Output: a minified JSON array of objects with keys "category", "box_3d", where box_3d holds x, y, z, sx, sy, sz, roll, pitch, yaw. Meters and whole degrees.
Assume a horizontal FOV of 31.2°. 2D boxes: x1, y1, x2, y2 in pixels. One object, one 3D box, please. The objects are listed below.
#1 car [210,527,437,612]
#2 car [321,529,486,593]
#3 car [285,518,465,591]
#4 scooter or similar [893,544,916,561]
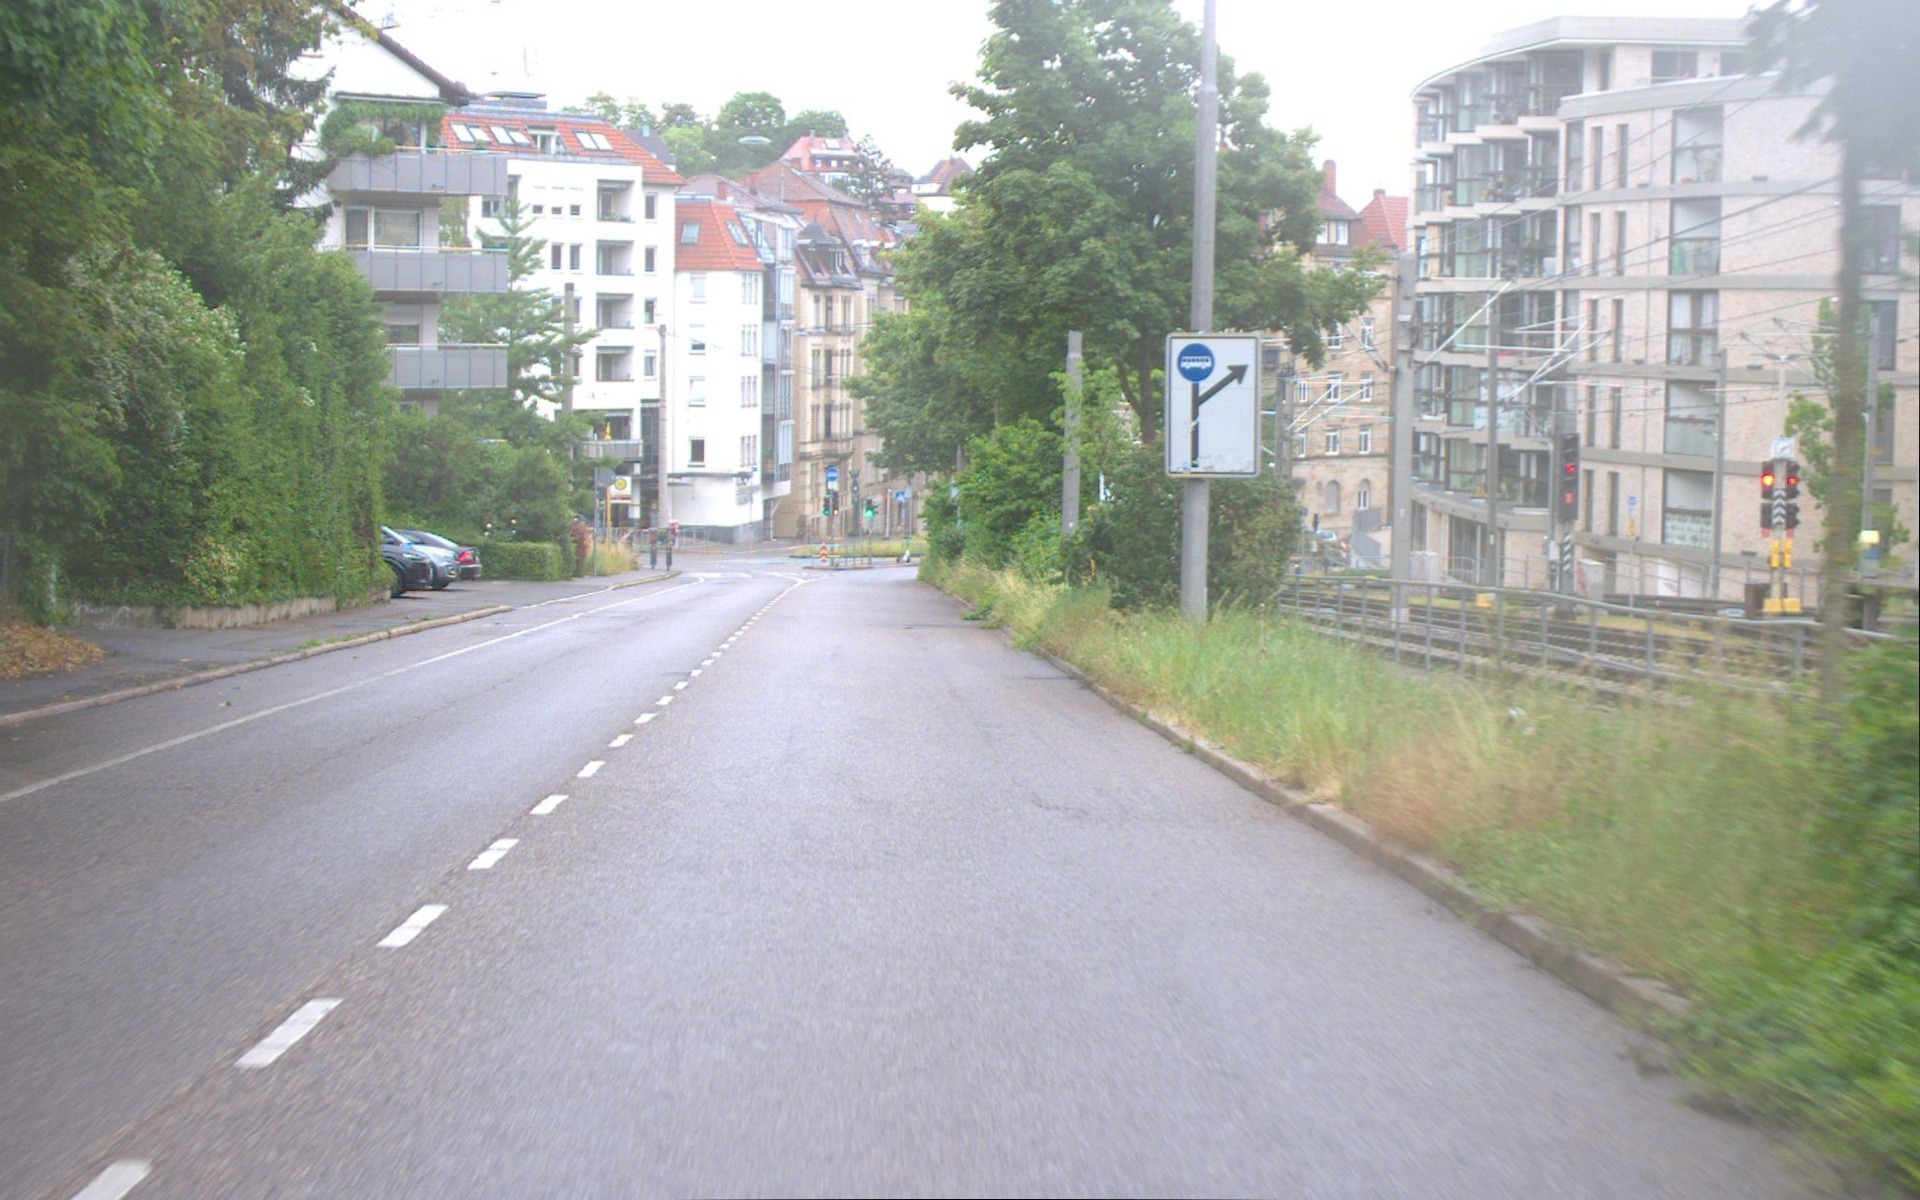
[{"category":"car","box_3d":[-13.365,-0.656,72.397,4.448,1.597,1.814,2,2,-2]},{"category":"car","box_3d":[-13.334,-0.923,82.491,3.631,1.402,1.783,2,0,0]},{"category":"car","box_3d":[-13.642,-1.051,80.296,3.986,1.554,1.881,2,0,-6]},{"category":"scooter or similar","box_3d":[-2.522,-2.149,156.461,0.485,0.759,1.328,1,1,26]}]
